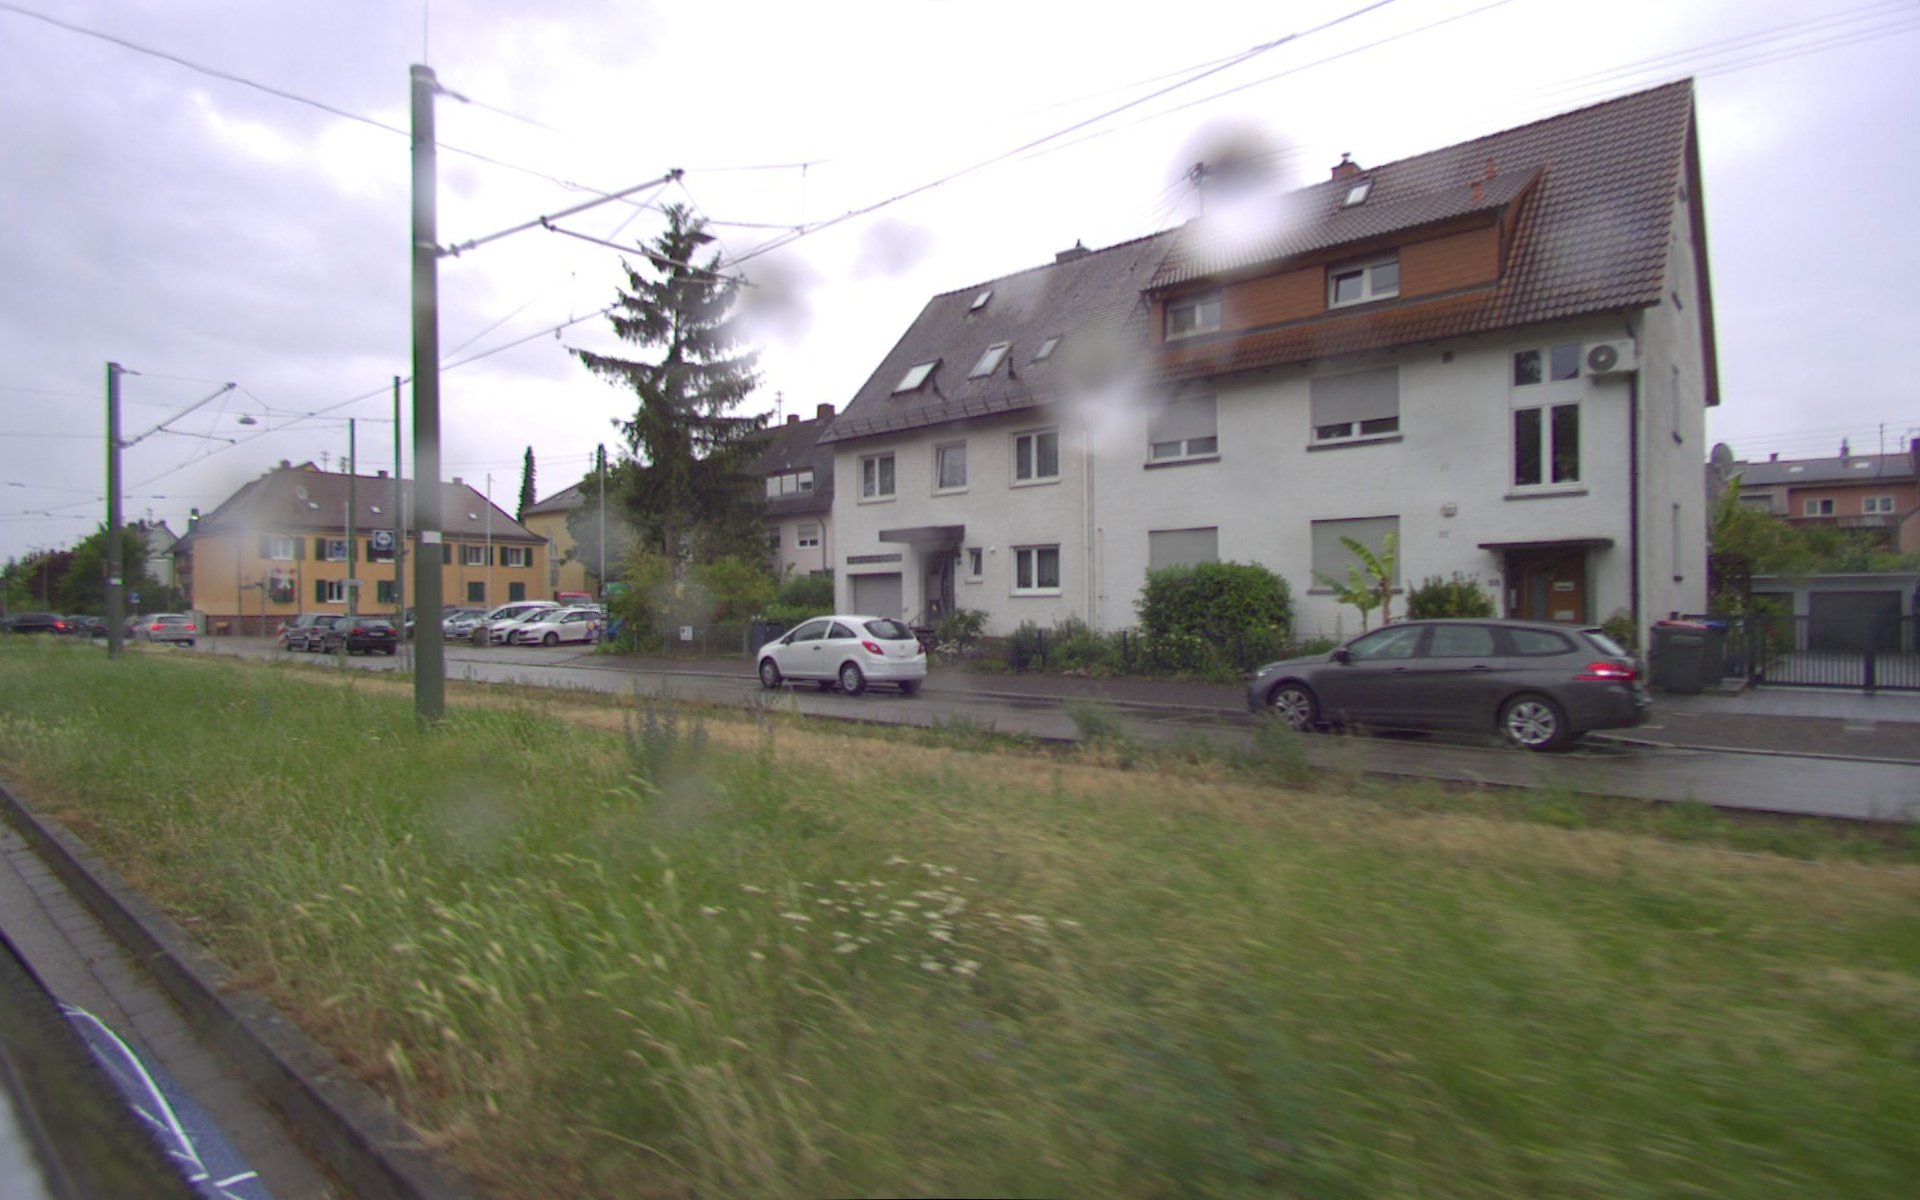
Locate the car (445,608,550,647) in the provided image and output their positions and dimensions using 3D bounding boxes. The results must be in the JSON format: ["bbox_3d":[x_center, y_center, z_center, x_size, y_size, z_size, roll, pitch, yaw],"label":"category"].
[{"bbox_3d":[-20.746,1.220,45.454,3.938,1.607,1.916,-1,0,-41],"label":"car"}]

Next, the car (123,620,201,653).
[{"bbox_3d":[-36.440,1.627,46.196,4.277,1.442,2.078,-1,-2,42],"label":"car"}]

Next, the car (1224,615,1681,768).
[{"bbox_3d":[5.870,0.980,12.462,4.754,1.543,1.867,-1,-2,41],"label":"car"}]

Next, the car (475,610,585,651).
[{"bbox_3d":[-18.485,1.292,43.639,1.914,1.607,3.943,-1,0,43],"label":"car"}]

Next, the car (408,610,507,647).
[{"bbox_3d":[-23.522,1.317,47.398,3.934,1.607,1.918,-1,0,-35],"label":"car"}]

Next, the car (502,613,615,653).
[{"bbox_3d":[-16.626,1.334,42.001,1.914,1.475,3.943,-1,0,43],"label":"car"}]

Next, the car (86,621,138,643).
[{"bbox_3d":[-57.975,2.187,69.205,4.075,1.442,2.069,-1,-2,40],"label":"car"}]

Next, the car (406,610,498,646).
[{"bbox_3d":[-24.889,1.333,49.581,3.931,1.607,1.919,-1,0,-29],"label":"car"}]

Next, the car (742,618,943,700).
[{"bbox_3d":[-2.385,1.100,20.001,3.998,1.451,1.693,-1,-2,41],"label":"car"}]

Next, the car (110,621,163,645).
[{"bbox_3d":[-51.550,2.047,63.301,4.075,1.442,1.861,-1,-2,41],"label":"car"}]

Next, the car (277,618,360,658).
[{"bbox_3d":[-26.439,1.528,41.683,3.999,1.541,1.857,-1,-2,42],"label":"car"}]

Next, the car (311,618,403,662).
[{"bbox_3d":[-22.986,1.484,38.523,3.999,1.602,1.887,-1,-2,42],"label":"car"}]

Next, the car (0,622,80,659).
[{"bbox_3d":[-45.103,1.917,48.482,4.054,1.756,2.006,1,-2,-26],"label":"car"}]

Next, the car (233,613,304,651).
[{"bbox_3d":[-32.785,1.467,47.950,4.001,1.670,1.971,-1,0,44],"label":"car"}]
